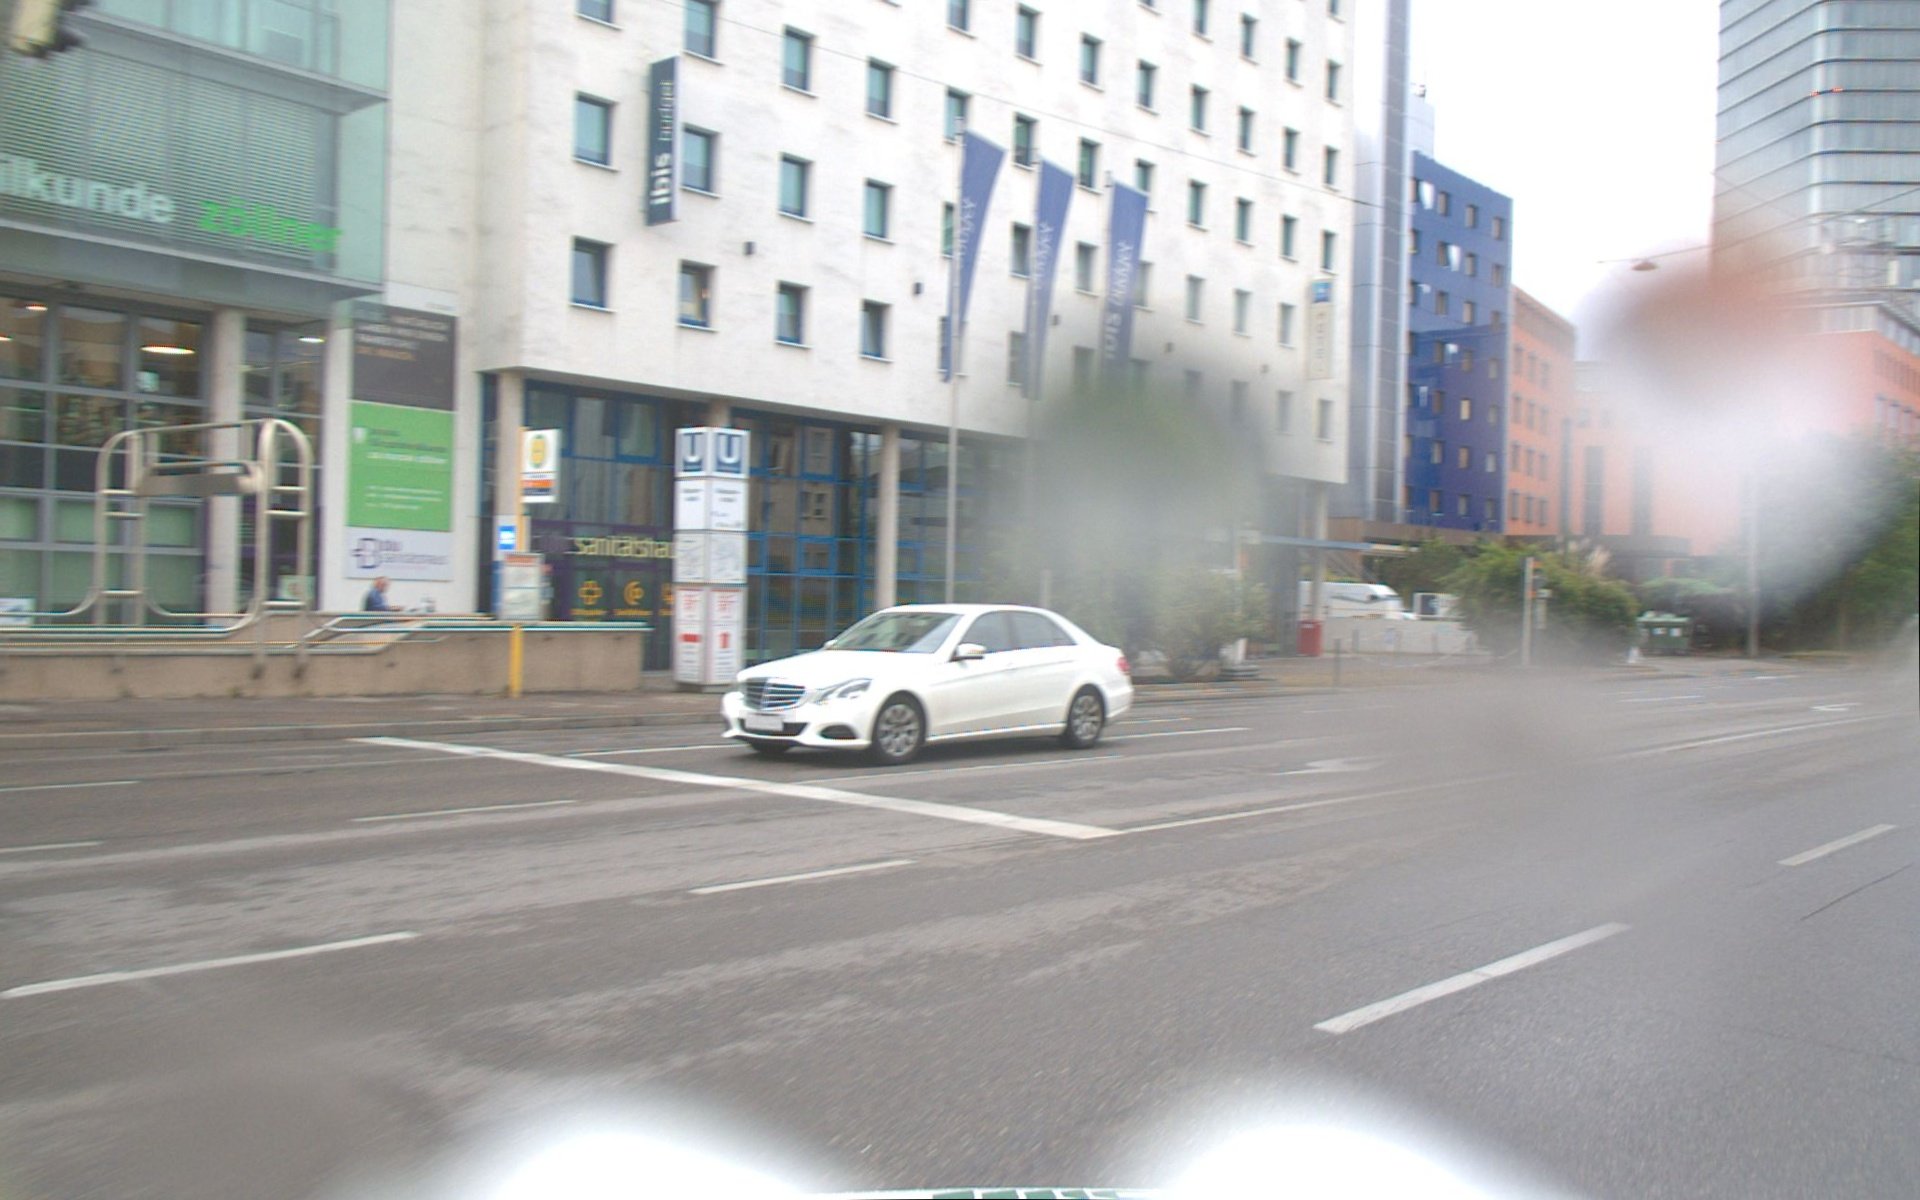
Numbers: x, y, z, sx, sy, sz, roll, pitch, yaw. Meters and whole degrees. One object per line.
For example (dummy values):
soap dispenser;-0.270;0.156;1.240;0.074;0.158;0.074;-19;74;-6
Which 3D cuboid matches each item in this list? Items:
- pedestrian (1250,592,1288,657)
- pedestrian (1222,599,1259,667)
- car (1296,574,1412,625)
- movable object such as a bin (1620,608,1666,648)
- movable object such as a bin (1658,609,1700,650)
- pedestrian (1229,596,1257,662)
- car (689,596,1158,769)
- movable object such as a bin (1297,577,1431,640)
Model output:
pedestrian;9.920;0.789;53.073;0.884;2.049;0.810;2;-3;-19
pedestrian;8.638;1.018;50.926;0.790;2.049;0.810;-1;-4;42
car;17.264;0.008;72.583;4.643;2.049;1.881;-1;-4;42
movable object such as a bin;26.535;1.096;64.232;0.941;1.517;1.376;4;-4;-37
movable object such as a bin;27.302;1.116;62.806;1.365;1.517;0.949;-1;-4;32
pedestrian;8.940;0.931;52.162;0.795;2.049;0.805;1;-3;13
car;-0.174;0.734;16.223;1.789;1.411;4.936;1;0;40
movable object such as a bin;18.222;0.421;74.688;5.541;2.674;2.149;-1;-4;41
